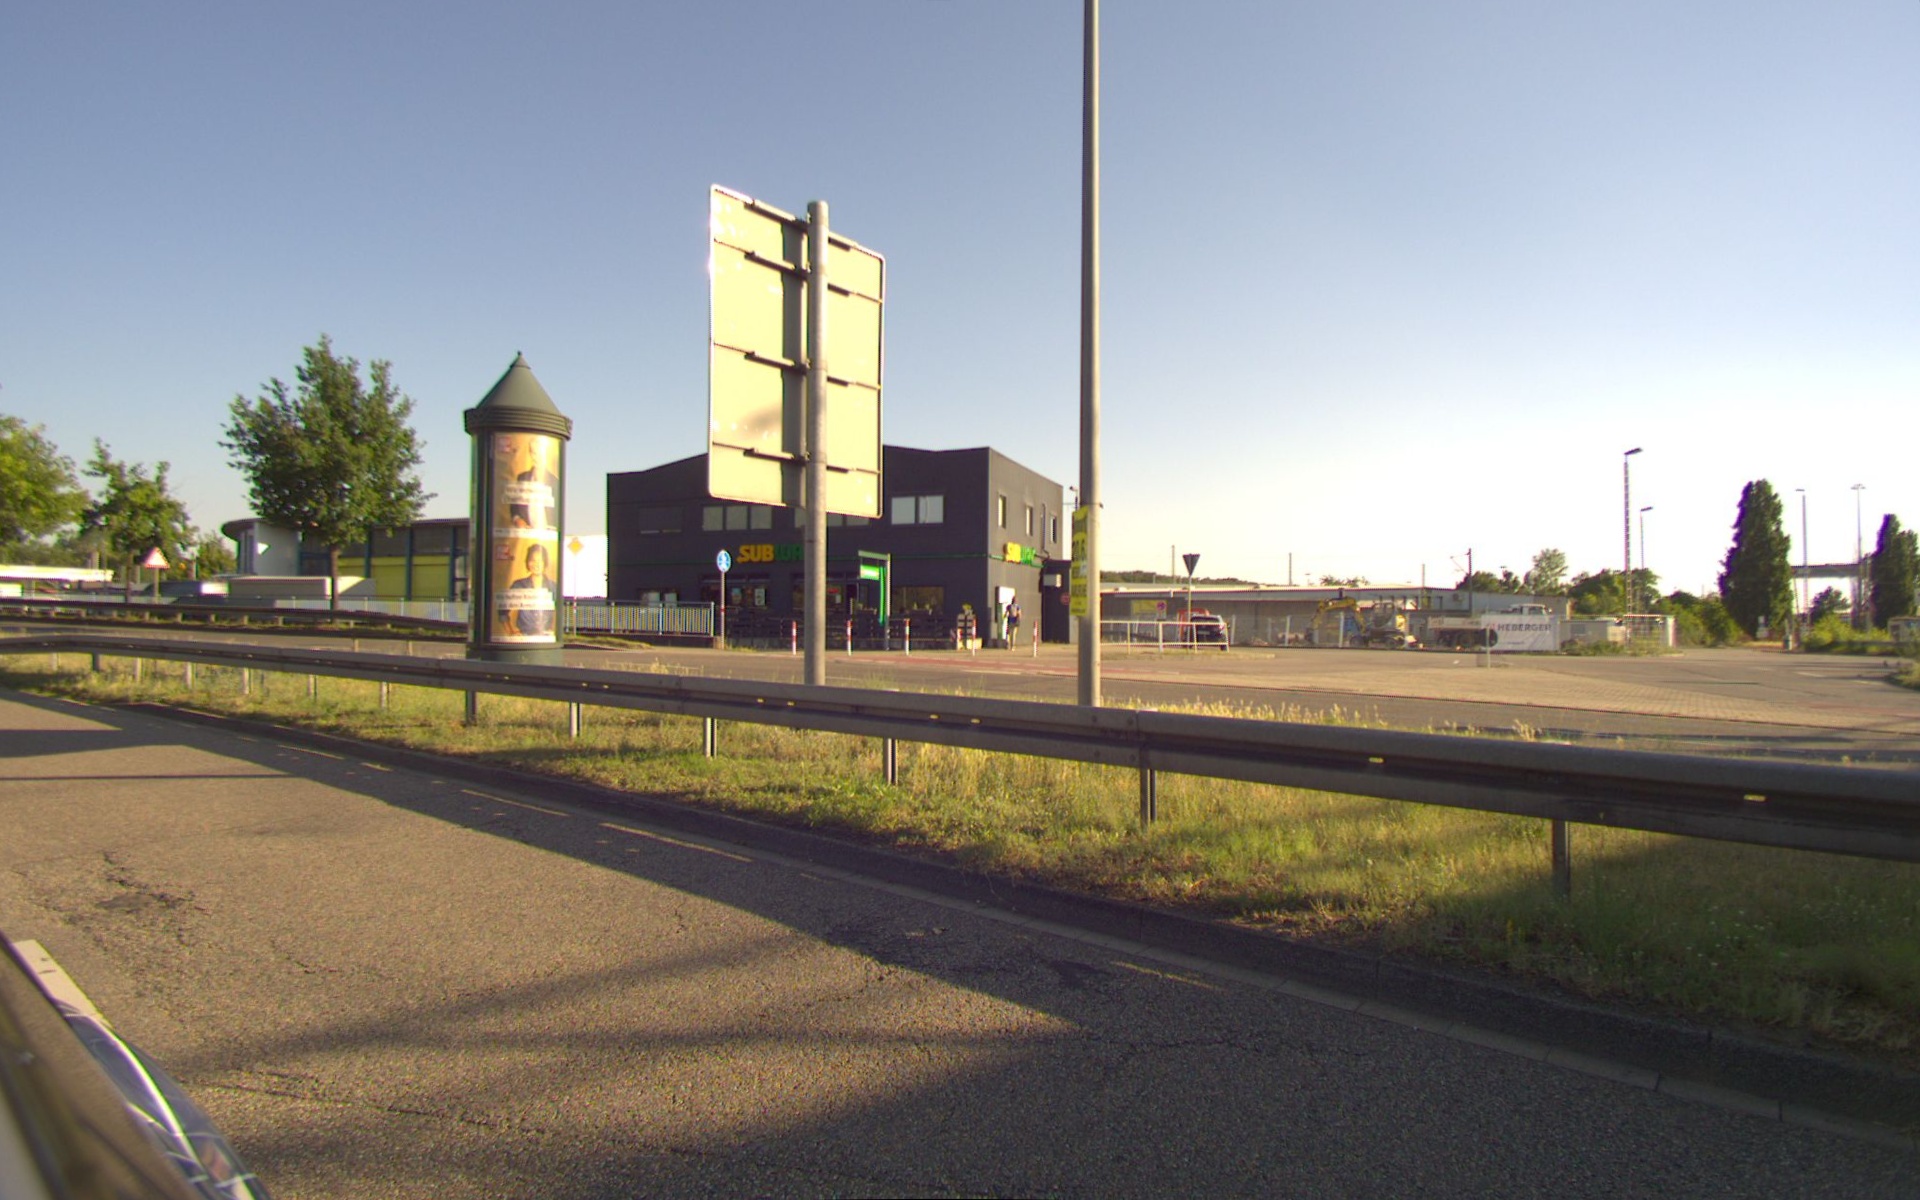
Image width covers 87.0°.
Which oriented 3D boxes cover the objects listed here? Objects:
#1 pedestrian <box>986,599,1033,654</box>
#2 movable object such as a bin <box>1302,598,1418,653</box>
[{"bbox_3d":[1.701,0.904,34.919,1.085,1.849,1.258,0,0,41],"label":"pedestrian"},{"bbox_3d":[24.756,1.548,62.796,6.586,3.241,2.428,0,0,23],"label":"movable object such as a bin"}]
